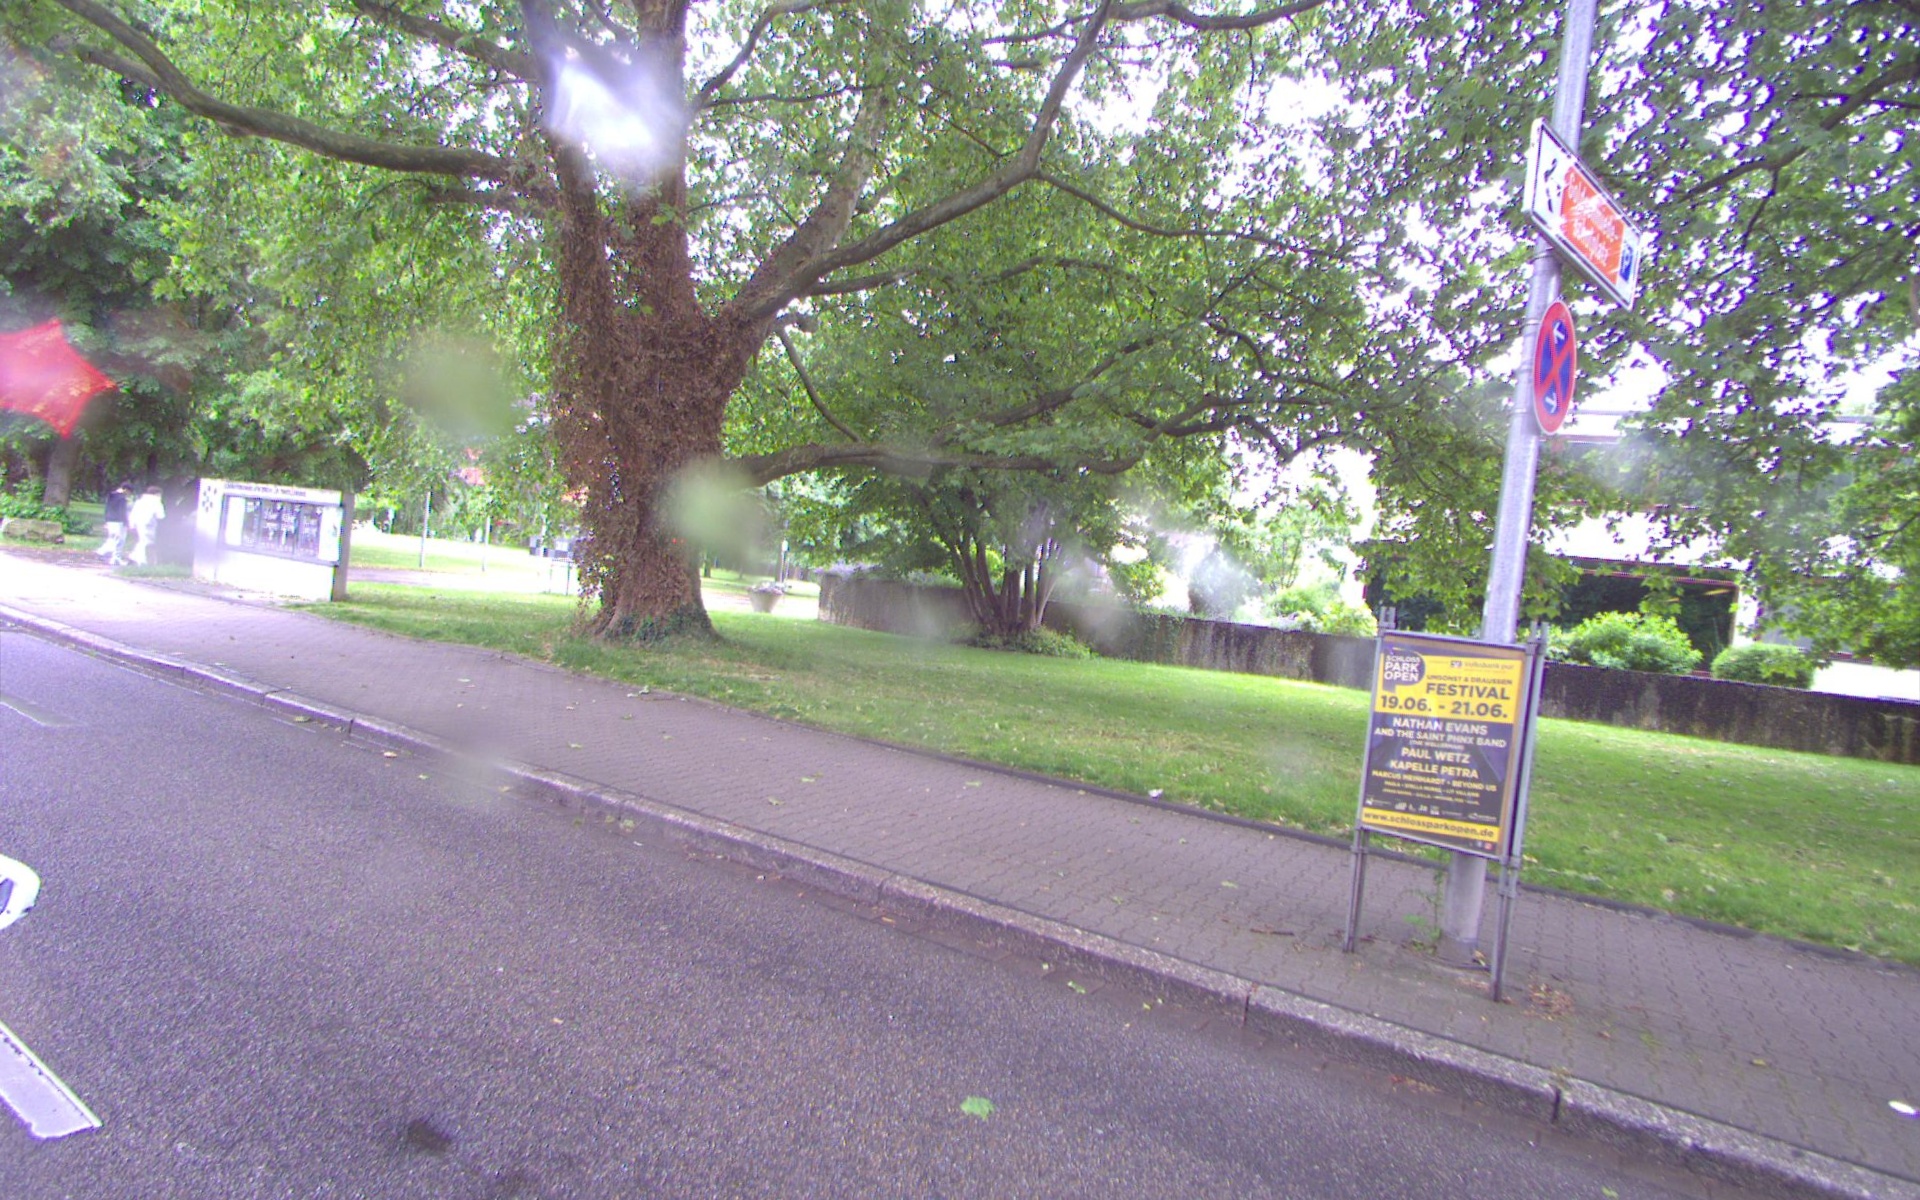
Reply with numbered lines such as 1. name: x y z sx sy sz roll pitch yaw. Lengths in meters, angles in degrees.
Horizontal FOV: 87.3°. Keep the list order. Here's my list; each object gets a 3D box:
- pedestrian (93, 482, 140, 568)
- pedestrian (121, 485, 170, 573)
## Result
1. pedestrian: -18.036 -1.594 21.516 0.550 1.744 0.485 7 2 25
2. pedestrian: -17.079 -1.484 21.098 0.550 1.744 0.504 7 2 25
